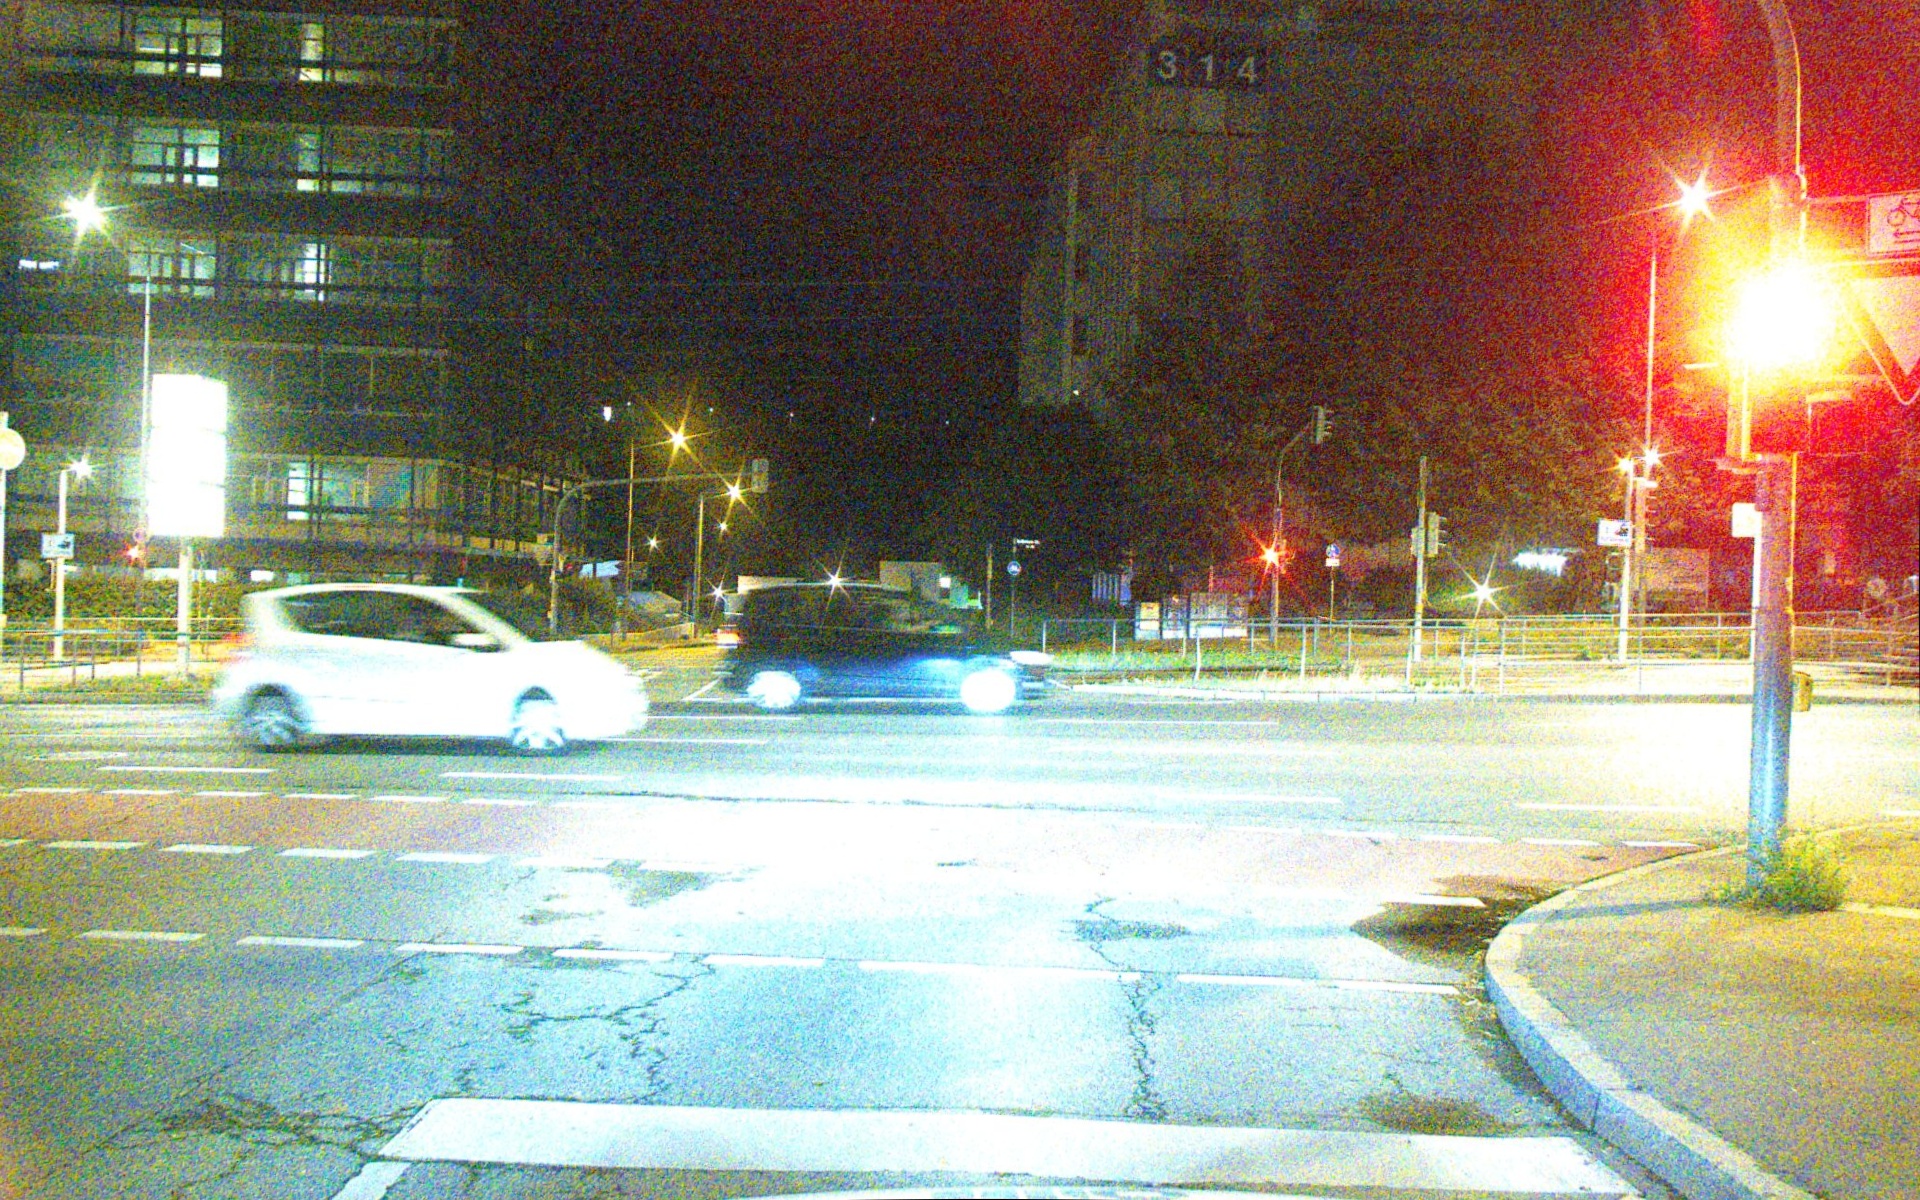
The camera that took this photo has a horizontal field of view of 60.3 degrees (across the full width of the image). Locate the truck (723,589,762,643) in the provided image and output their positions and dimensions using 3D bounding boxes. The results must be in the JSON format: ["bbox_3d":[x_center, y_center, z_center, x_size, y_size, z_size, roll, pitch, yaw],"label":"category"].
[{"bbox_3d":[-15.666,1.136,119.010,2.535,3.772,5.724,1,0,-9],"label":"truck"}]

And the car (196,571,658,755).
[{"bbox_3d":[-5.103,0.581,16.190,3.904,1.692,1.810,0,0,3],"label":"car"}]

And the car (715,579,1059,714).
[{"bbox_3d":[-0.890,0.589,21.809,4.353,1.688,1.865,0,0,2],"label":"car"}]

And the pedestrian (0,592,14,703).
[{"bbox_3d":[-14.691,0.703,24.671,0.656,1.663,0.862,1,-1,-5],"label":"pedestrian"}]

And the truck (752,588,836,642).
[{"bbox_3d":[-15.299,1.300,150.973,4.751,4.627,12.593,1,0,-19],"label":"truck"}]
